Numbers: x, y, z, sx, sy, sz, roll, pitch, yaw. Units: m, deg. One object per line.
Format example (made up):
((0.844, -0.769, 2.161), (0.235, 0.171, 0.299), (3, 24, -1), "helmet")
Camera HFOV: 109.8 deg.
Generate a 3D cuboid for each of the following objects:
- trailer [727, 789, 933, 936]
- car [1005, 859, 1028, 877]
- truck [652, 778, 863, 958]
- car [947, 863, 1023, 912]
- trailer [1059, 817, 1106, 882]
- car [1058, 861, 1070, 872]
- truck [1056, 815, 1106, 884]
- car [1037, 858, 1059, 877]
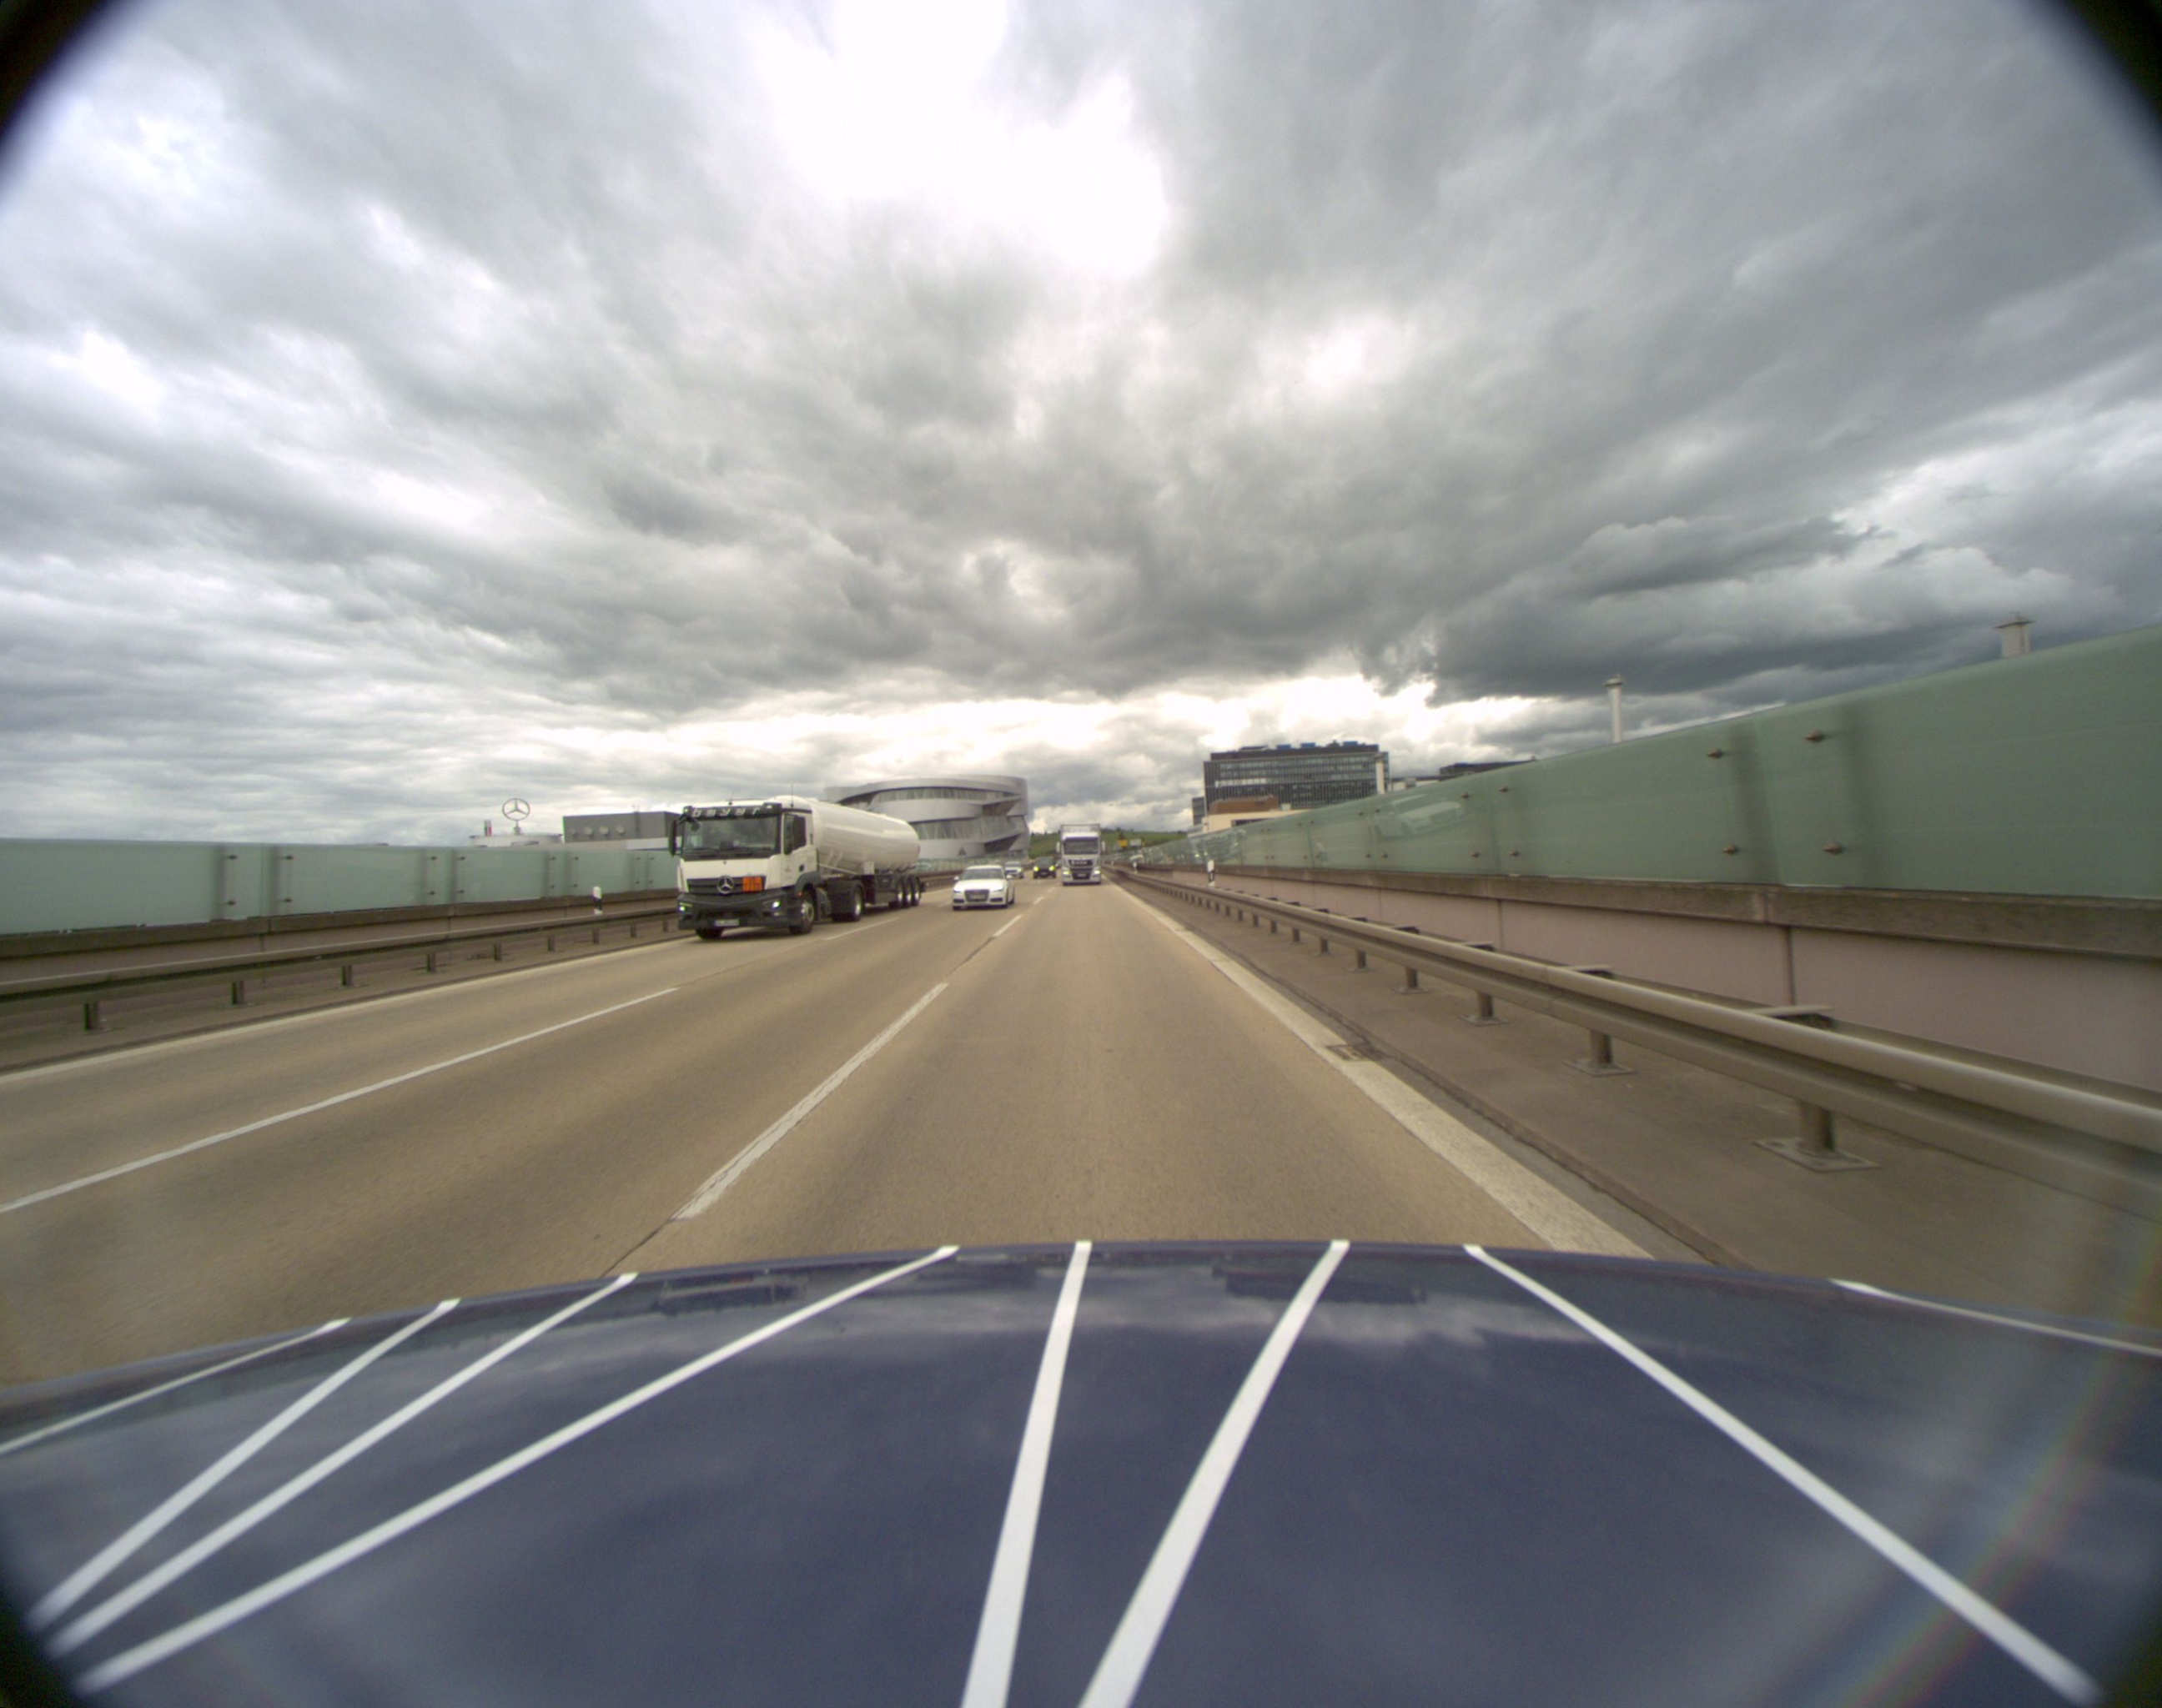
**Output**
((-7.248, 0.197, 24.265), (2.657, 3.523, 11.219), (-2, 0, 0), "trailer")
((-6.277, 1.306, 74.055), (1.785, 1.624, 3.627), (-2, 0, 1), "car")
((-7.271, 0.337, 17.876), (2.637, 3.492, 4.905), (-4, -1, 0), "truck")
((-3.170, 1.084, 25.823), (1.848, 1.443, 3.933), (-2, 0, 3), "car")
((0.155, -0.281, 54.770), (2.880, 4.104, 11.220), (-2, 0, 1), "trailer")
((-3.060, 2.247, 137.263), (1.998, 2.002, 4.000), (-2, 0, 0), "car")
((0.066, -0.298, 49.604), (2.946, 4.136, 6.291), (-2, 0, 1), "truck")
((-3.057, 1.189, 70.333), (1.765, 1.624, 3.627), (-2, 0, 1), "car")
